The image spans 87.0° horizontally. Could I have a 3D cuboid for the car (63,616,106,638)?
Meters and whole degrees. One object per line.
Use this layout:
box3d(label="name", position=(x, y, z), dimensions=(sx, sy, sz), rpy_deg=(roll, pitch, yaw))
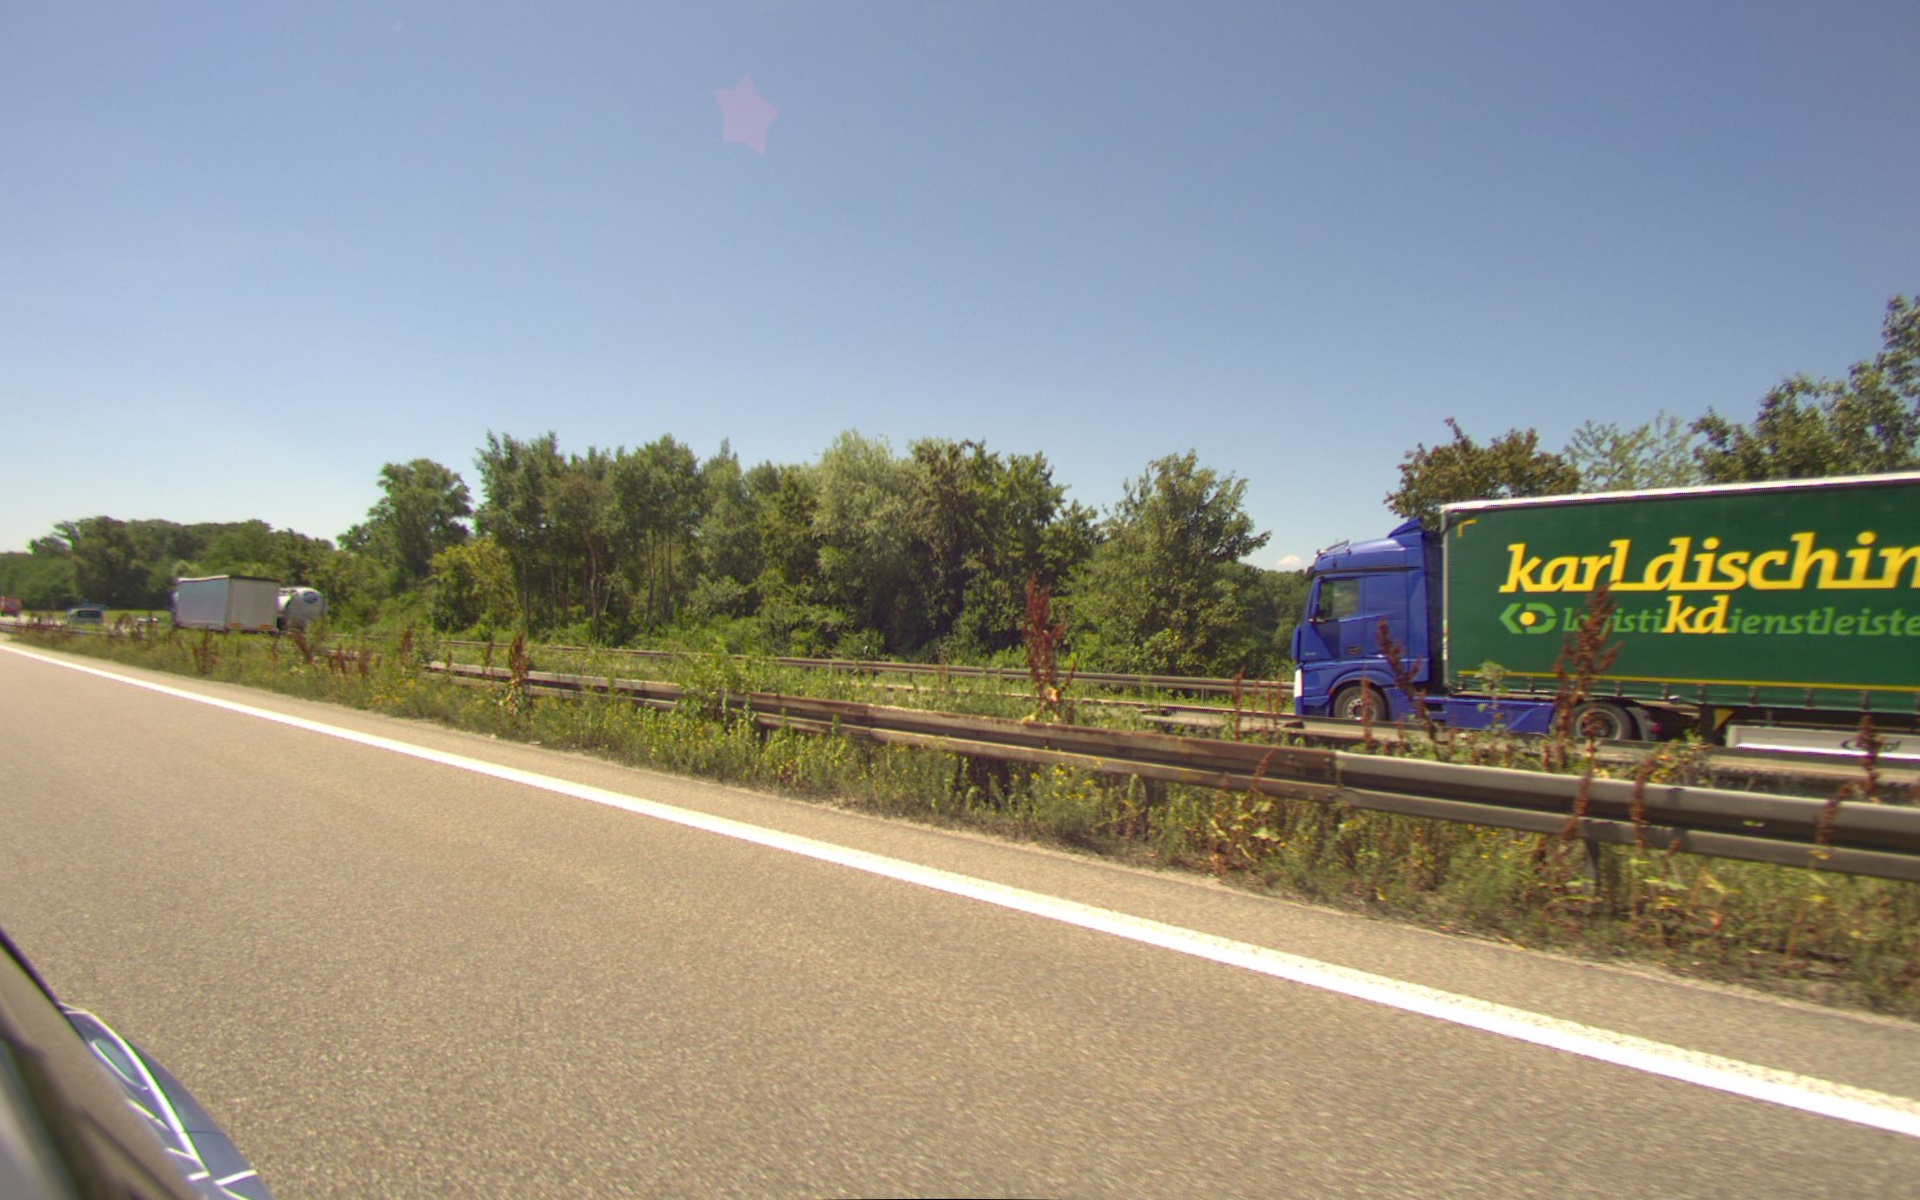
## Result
box3d(label="car", position=(-67.793, 2.068, 78.372), dimensions=(4.818, 1.602, 1.972), rpy_deg=(-1, -3, 43))

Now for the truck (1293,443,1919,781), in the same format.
box3d(label="truck", position=(13.893, 0.206, 13.692), dimensions=(18.237, 4.375, 2.923), rpy_deg=(-1, -3, 42))

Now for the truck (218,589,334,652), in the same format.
box3d(label="truck", position=(-48.462, 1.464, 71.325), dimensions=(15.816, 4.049, 2.923), rpy_deg=(-1, -3, 42))

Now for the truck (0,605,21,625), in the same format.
box3d(label="truck", position=(-183.404, 2.963, 194.824), dimensions=(9.805, 3.755, 3.031), rpy_deg=(-1, -3, 43))

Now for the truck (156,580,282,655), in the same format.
box3d(label="truck", position=(-47.830, 1.163, 64.946), dimensions=(17.177, 4.278, 2.923), rpy_deg=(-1, -3, 42))

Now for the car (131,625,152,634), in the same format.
box3d(label="car", position=(-135.924, 4.933, 168.043), dimensions=(4.973, 1.423, 1.971), rpy_deg=(-1, -3, 43))
